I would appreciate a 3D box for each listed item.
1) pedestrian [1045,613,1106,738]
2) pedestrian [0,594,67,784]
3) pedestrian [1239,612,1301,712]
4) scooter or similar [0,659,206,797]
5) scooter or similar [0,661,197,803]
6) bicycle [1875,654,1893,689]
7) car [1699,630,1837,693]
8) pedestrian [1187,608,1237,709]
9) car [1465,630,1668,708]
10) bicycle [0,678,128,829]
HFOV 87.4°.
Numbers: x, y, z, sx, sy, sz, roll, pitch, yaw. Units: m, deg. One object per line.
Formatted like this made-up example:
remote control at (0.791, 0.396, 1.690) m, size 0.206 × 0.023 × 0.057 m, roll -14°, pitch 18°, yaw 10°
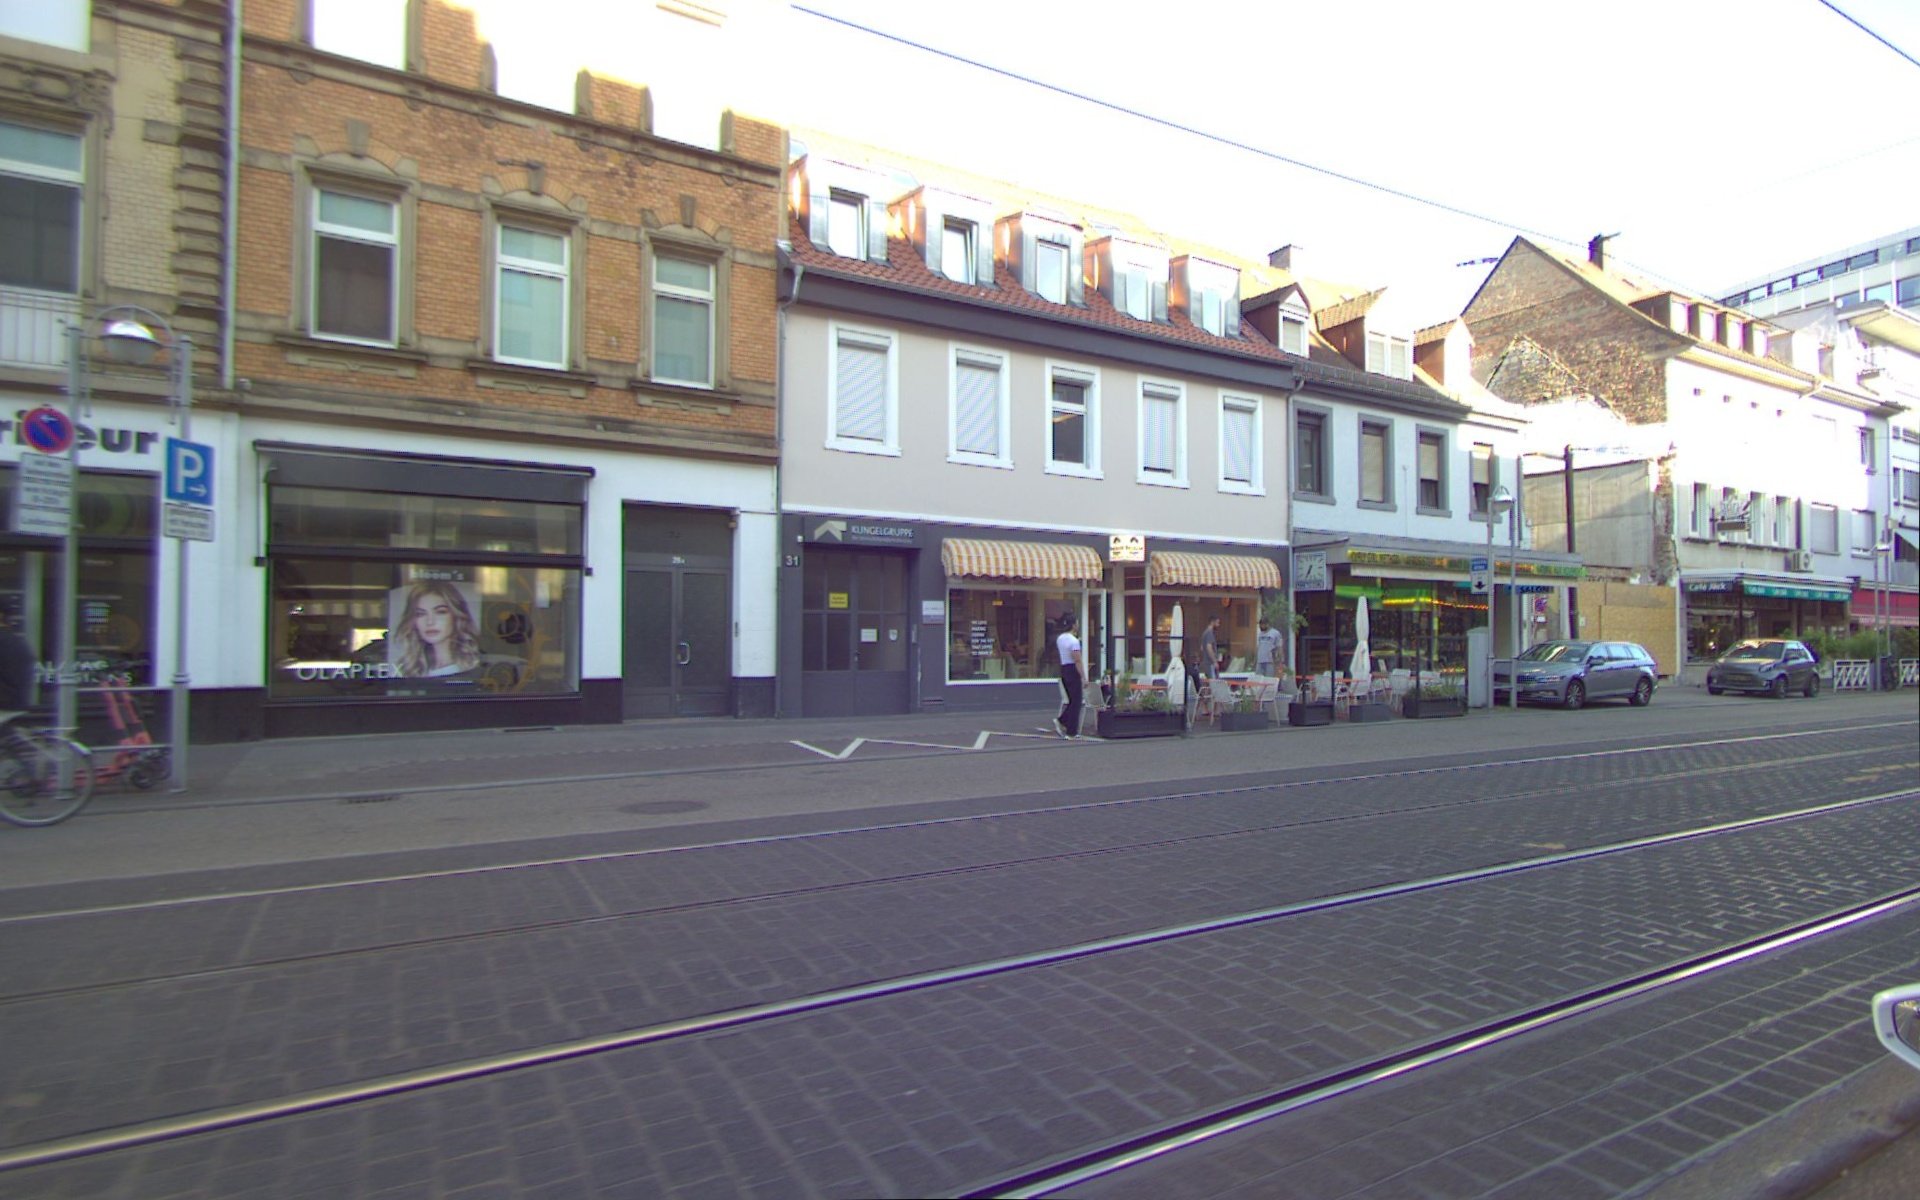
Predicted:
pedestrian at (1.731, 1.106, 14.994) m, size 0.706 × 1.799 × 0.614 m, roll 0°, pitch -2°, yaw 31°
pedestrian at (-7.720, 0.685, 7.920) m, size 0.864 × 1.463 × 0.621 m, roll 2°, pitch -2°, yaw -31°
pedestrian at (5.781, 1.136, 18.753) m, size 0.680 × 1.799 × 0.881 m, roll 1°, pitch -2°, yaw -31°
scooter or similar at (-8.331, 1.208, 9.824) m, size 1.461 × 1.218 × 0.576 m, roll 1°, pitch 0°, yaw -34°
scooter or similar at (-8.091, 1.206, 9.402) m, size 1.461 × 1.218 × 0.362 m, roll 1°, pitch 0°, yaw -34°
bicycle at (28.308, 2.181, 30.779) m, size 0.364 × 1.015 × 1.597 m, roll -1°, pitch -2°, yaw 41°
car at (22.236, 1.662, 27.627) m, size 3.697 × 1.566 × 1.668 m, roll 1°, pitch 0°, yaw -28°
pedestrian at (4.716, 1.083, 18.788) m, size 0.636 × 1.847 × 0.652 m, roll 1°, pitch -2°, yaw -35°
car at (13.847, 1.554, 22.874) m, size 4.703 × 1.552 × 1.983 m, roll 3°, pitch -1°, yaw -31°
bicycle at (-7.816, 1.205, 7.847) m, size 1.930 × 1.130 × 0.575 m, roll 1°, pitch -2°, yaw -31°
